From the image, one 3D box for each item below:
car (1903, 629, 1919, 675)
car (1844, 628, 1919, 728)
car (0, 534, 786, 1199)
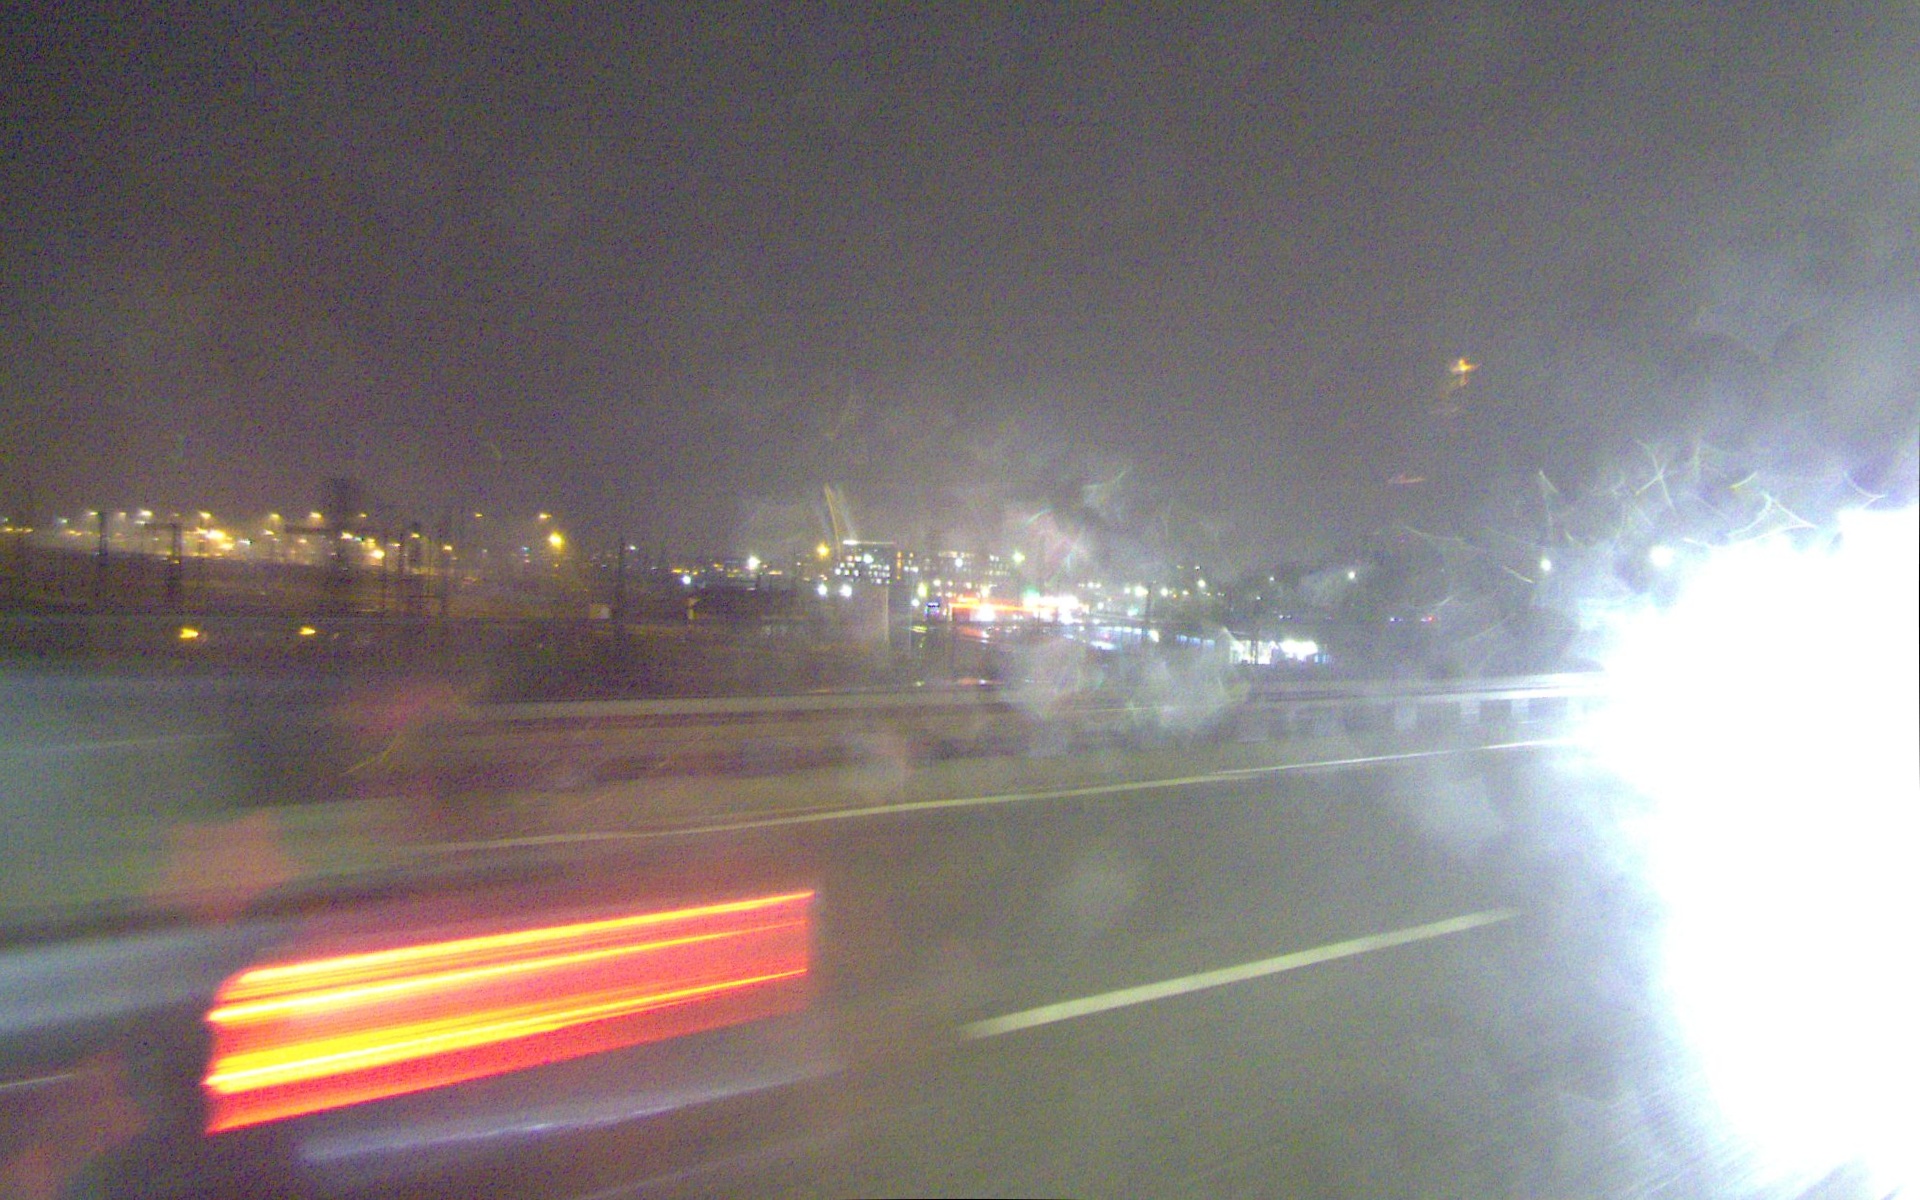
[{"bbox_3d":[44.889,2.392,46.372,1.646,2.040,3.982,0,-1,39],"label":"car"},{"bbox_3d":[15.668,1.214,15.887,4.410,1.409,1.670,2,0,-37],"label":"car"},{"bbox_3d":[-2.502,0.633,1.493,4.019,1.458,1.884,1,-1,-33],"label":"car"}]
